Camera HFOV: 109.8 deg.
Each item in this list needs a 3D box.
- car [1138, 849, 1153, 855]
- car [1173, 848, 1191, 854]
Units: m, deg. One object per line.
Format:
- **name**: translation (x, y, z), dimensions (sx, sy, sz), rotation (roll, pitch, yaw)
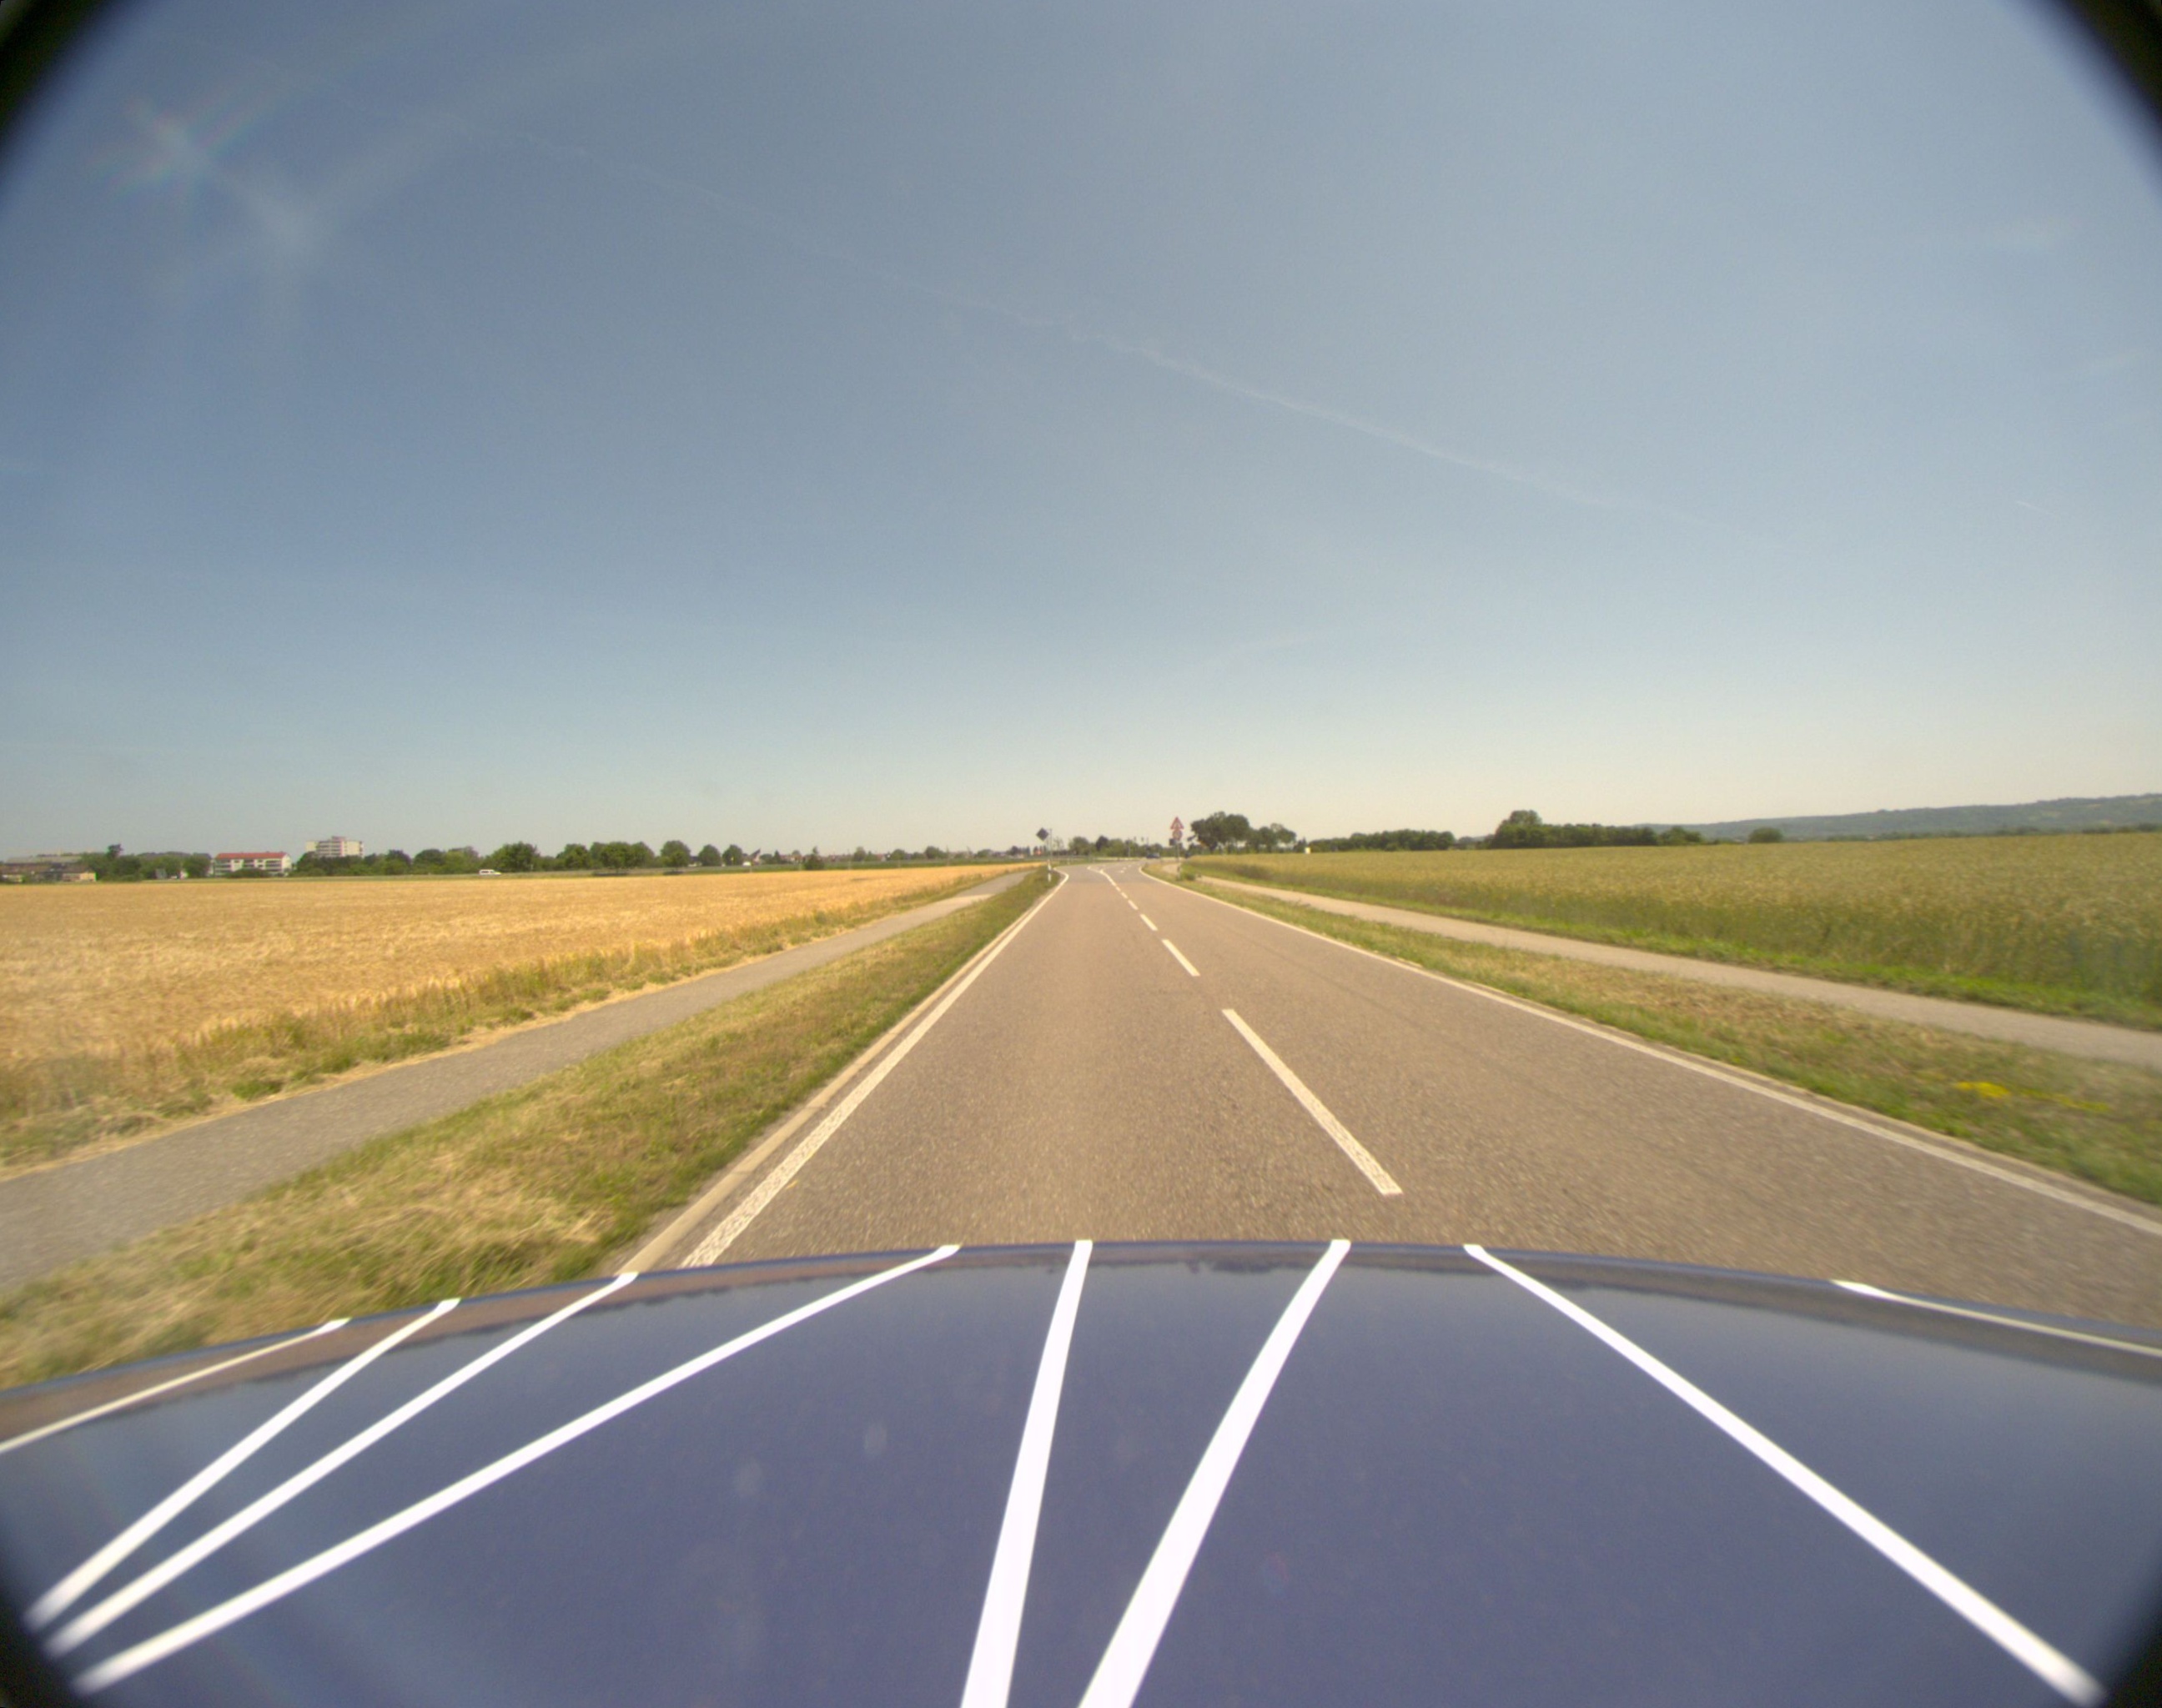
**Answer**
- **car**: translation (17.943, -0.570, 212.130), dimensions (3.918, 1.797, 1.919), rotation (-2, 1, -3)
- **car**: translation (28.444, -0.867, 214.075), dimensions (4.526, 1.631, 1.812), rotation (-1, 2, -7)
